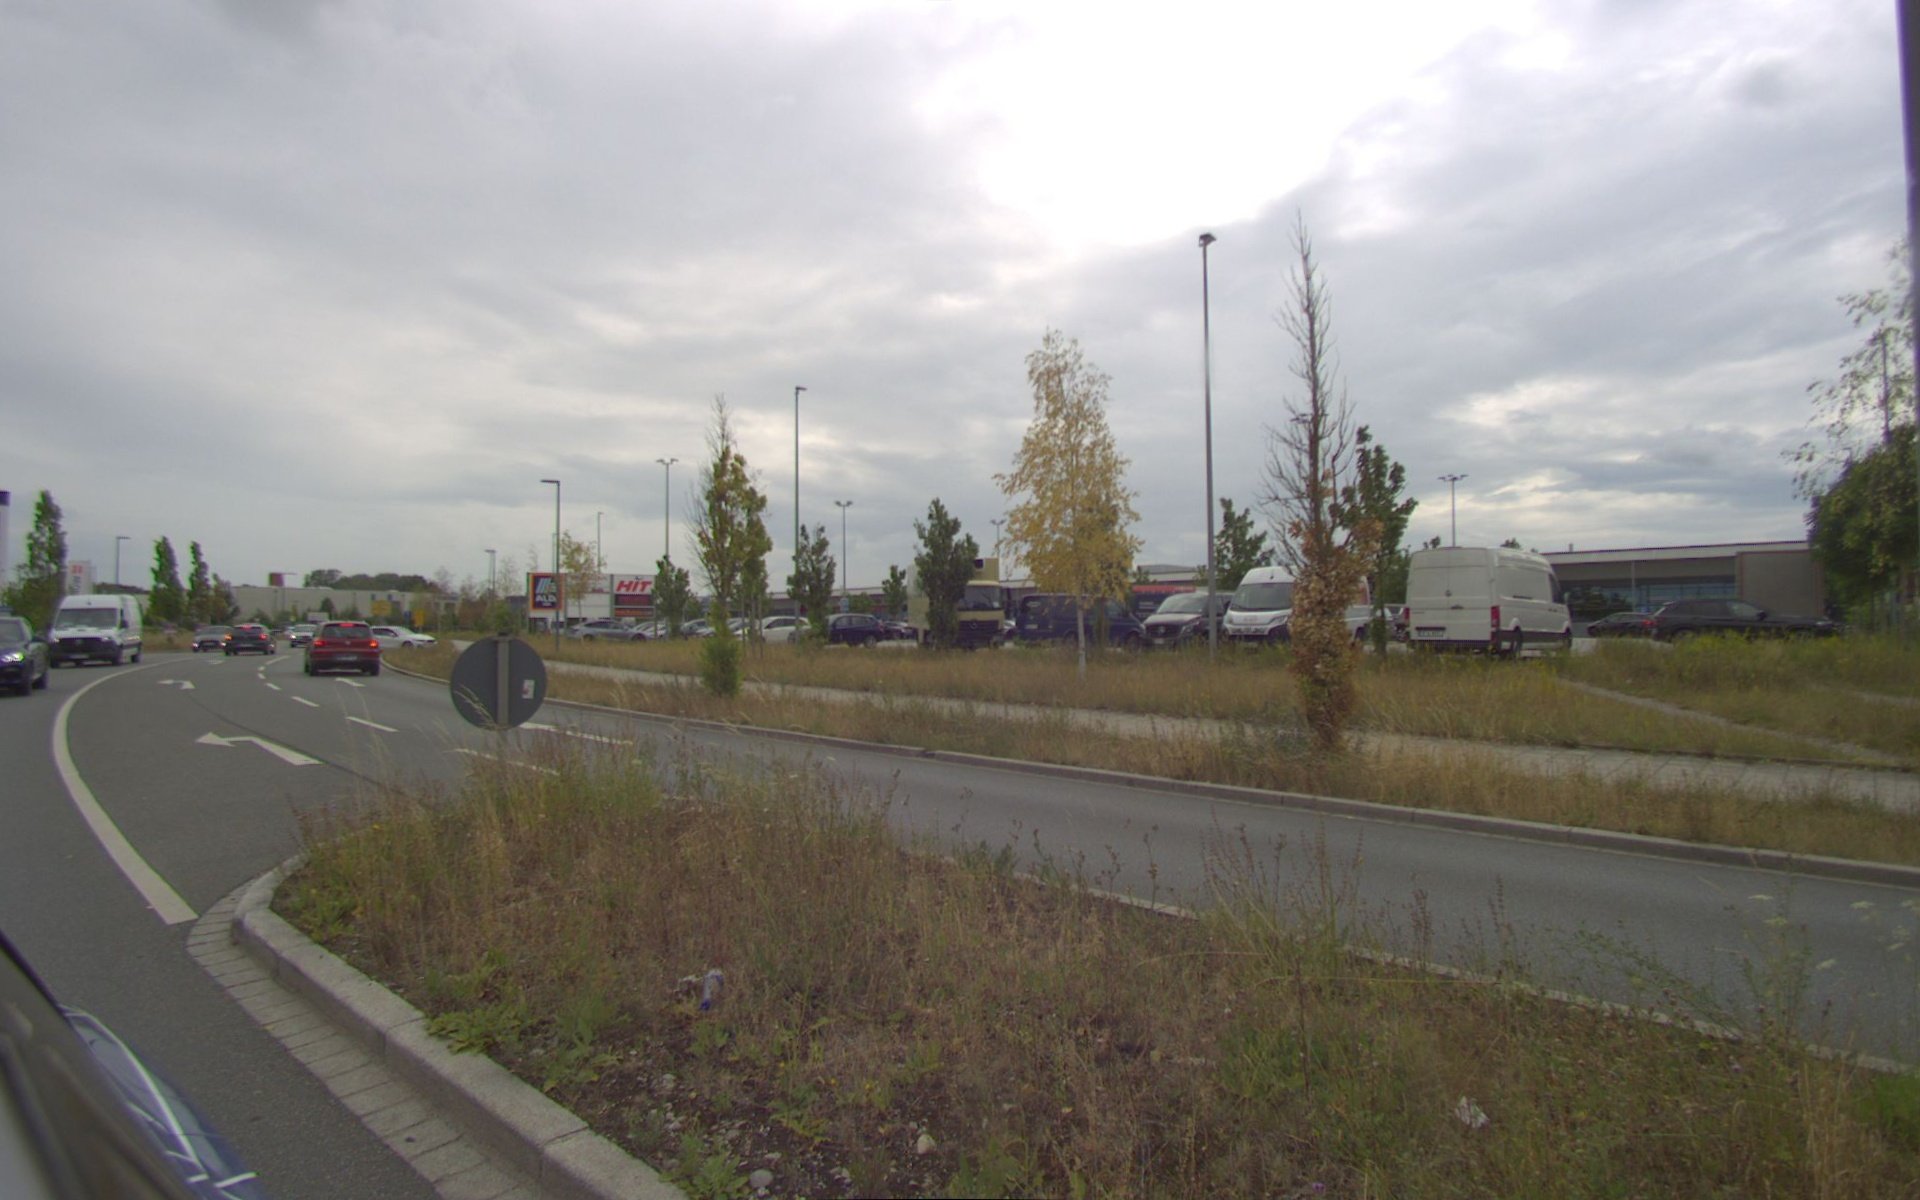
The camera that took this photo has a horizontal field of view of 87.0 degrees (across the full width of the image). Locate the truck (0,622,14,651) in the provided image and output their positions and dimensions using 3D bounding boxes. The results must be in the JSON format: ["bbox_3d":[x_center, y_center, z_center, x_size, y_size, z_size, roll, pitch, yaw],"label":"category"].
[{"bbox_3d":[-80.159,3.015,83.405,2.197,2.343,8.233,1,-3,-36],"label":"truck"}]

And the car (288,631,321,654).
[{"bbox_3d":[-42.607,2.739,65.781,1.679,1.449,4.042,1,-3,-35],"label":"car"}]

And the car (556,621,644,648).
[{"bbox_3d":[-21.019,2.010,59.128,4.533,1.573,2.006,1,-3,-30],"label":"car"}]

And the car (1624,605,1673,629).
[{"bbox_3d":[49.046,1.243,72.114,3.939,1.619,2.002,1,-2,-42],"label":"car"}]

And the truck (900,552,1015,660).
[{"bbox_3d":[-0.322,0.290,37.894,2.812,3.568,8.447,0,-1,-10],"label":"truck"}]

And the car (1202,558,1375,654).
[{"bbox_3d":[9.013,0.210,27.360,2.210,2.324,6.004,-2,-2,42],"label":"car"}]

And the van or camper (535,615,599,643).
[{"bbox_3d":[-40.281,2.963,103.780,5.776,2.821,2.248,1,-2,-37],"label":"van or camper"}]

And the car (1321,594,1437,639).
[{"bbox_3d":[18.102,0.747,43.767,4.260,1.863,1.975,-1,-2,37],"label":"car"}]

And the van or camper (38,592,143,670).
[{"bbox_3d":[-32.079,1.170,37.534,2.228,2.636,5.711,1,-3,-34],"label":"van or camper"}]

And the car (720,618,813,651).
[{"bbox_3d":[-9.785,1.753,51.244,4.192,1.571,1.993,1,-3,-38],"label":"car"}]

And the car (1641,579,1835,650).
[{"bbox_3d":[24.130,0.486,31.527,4.635,2.048,1.973,-2,-3,40],"label":"car"}]

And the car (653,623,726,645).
[{"bbox_3d":[-17.896,2.257,66.898,4.296,1.402,2.172,1,-2,-27],"label":"car"}]

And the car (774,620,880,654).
[{"bbox_3d":[-5.859,1.634,44.720,4.175,1.446,2.003,1,-3,-34],"label":"car"}]

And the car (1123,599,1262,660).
[{"bbox_3d":[6.874,0.849,29.592,1.993,1.629,4.852,-2,-2,40],"label":"car"}]

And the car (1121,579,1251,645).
[{"bbox_3d":[9.763,0.595,44.002,5.136,2.711,2.039,-2,-3,36],"label":"car"}]

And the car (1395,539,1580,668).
[{"bbox_3d":[12.517,0.140,23.751,2.244,2.618,6.337,-2,-2,43],"label":"car"}]

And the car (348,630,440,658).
[{"bbox_3d":[-31.111,2.418,55.707,4.145,1.480,1.881,0,-2,9],"label":"car"}]

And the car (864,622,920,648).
[{"bbox_3d":[-5.057,2.572,74.511,4.002,1.830,1.971,-2,-3,45],"label":"car"}]

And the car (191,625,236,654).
[{"bbox_3d":[-42.619,2.225,57.851,1.728,1.597,4.011,0,-2,-32],"label":"car"}]

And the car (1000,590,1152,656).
[{"bbox_3d":[3.820,0.769,32.971,4.840,2.005,2.182,1,-2,-40],"label":"car"}]

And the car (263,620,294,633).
[{"bbox_3d":[-112.032,4.353,166.401,1.632,2.029,3.969,-1,-2,23],"label":"car"}]

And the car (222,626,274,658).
[{"bbox_3d":[-33.958,1.996,48.364,1.804,1.431,4.257,1,-2,-32],"label":"car"}]

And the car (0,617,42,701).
[{"bbox_3d":[-20.899,1.240,21.380,1.968,1.677,4.007,0,-2,-38],"label":"car"}]

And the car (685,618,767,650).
[{"bbox_3d":[-13.493,1.945,58.311,4.184,1.736,2.034,1,-2,-33],"label":"car"}]

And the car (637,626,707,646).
[{"bbox_3d":[-20.011,2.525,70.298,4.253,1.350,2.033,1,-3,-31],"label":"car"}]

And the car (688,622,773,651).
[{"bbox_3d":[-12.589,1.990,55.569,4.182,1.525,2.052,0,-2,-28],"label":"car"}]

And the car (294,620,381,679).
[{"bbox_3d":[-19.269,1.520,31.252,1.775,1.682,4.336,4,-4,-37],"label":"car"}]

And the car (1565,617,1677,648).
[{"bbox_3d":[37.292,1.850,57.193,5.055,1.663,1.973,-2,-2,41],"label":"car"}]
